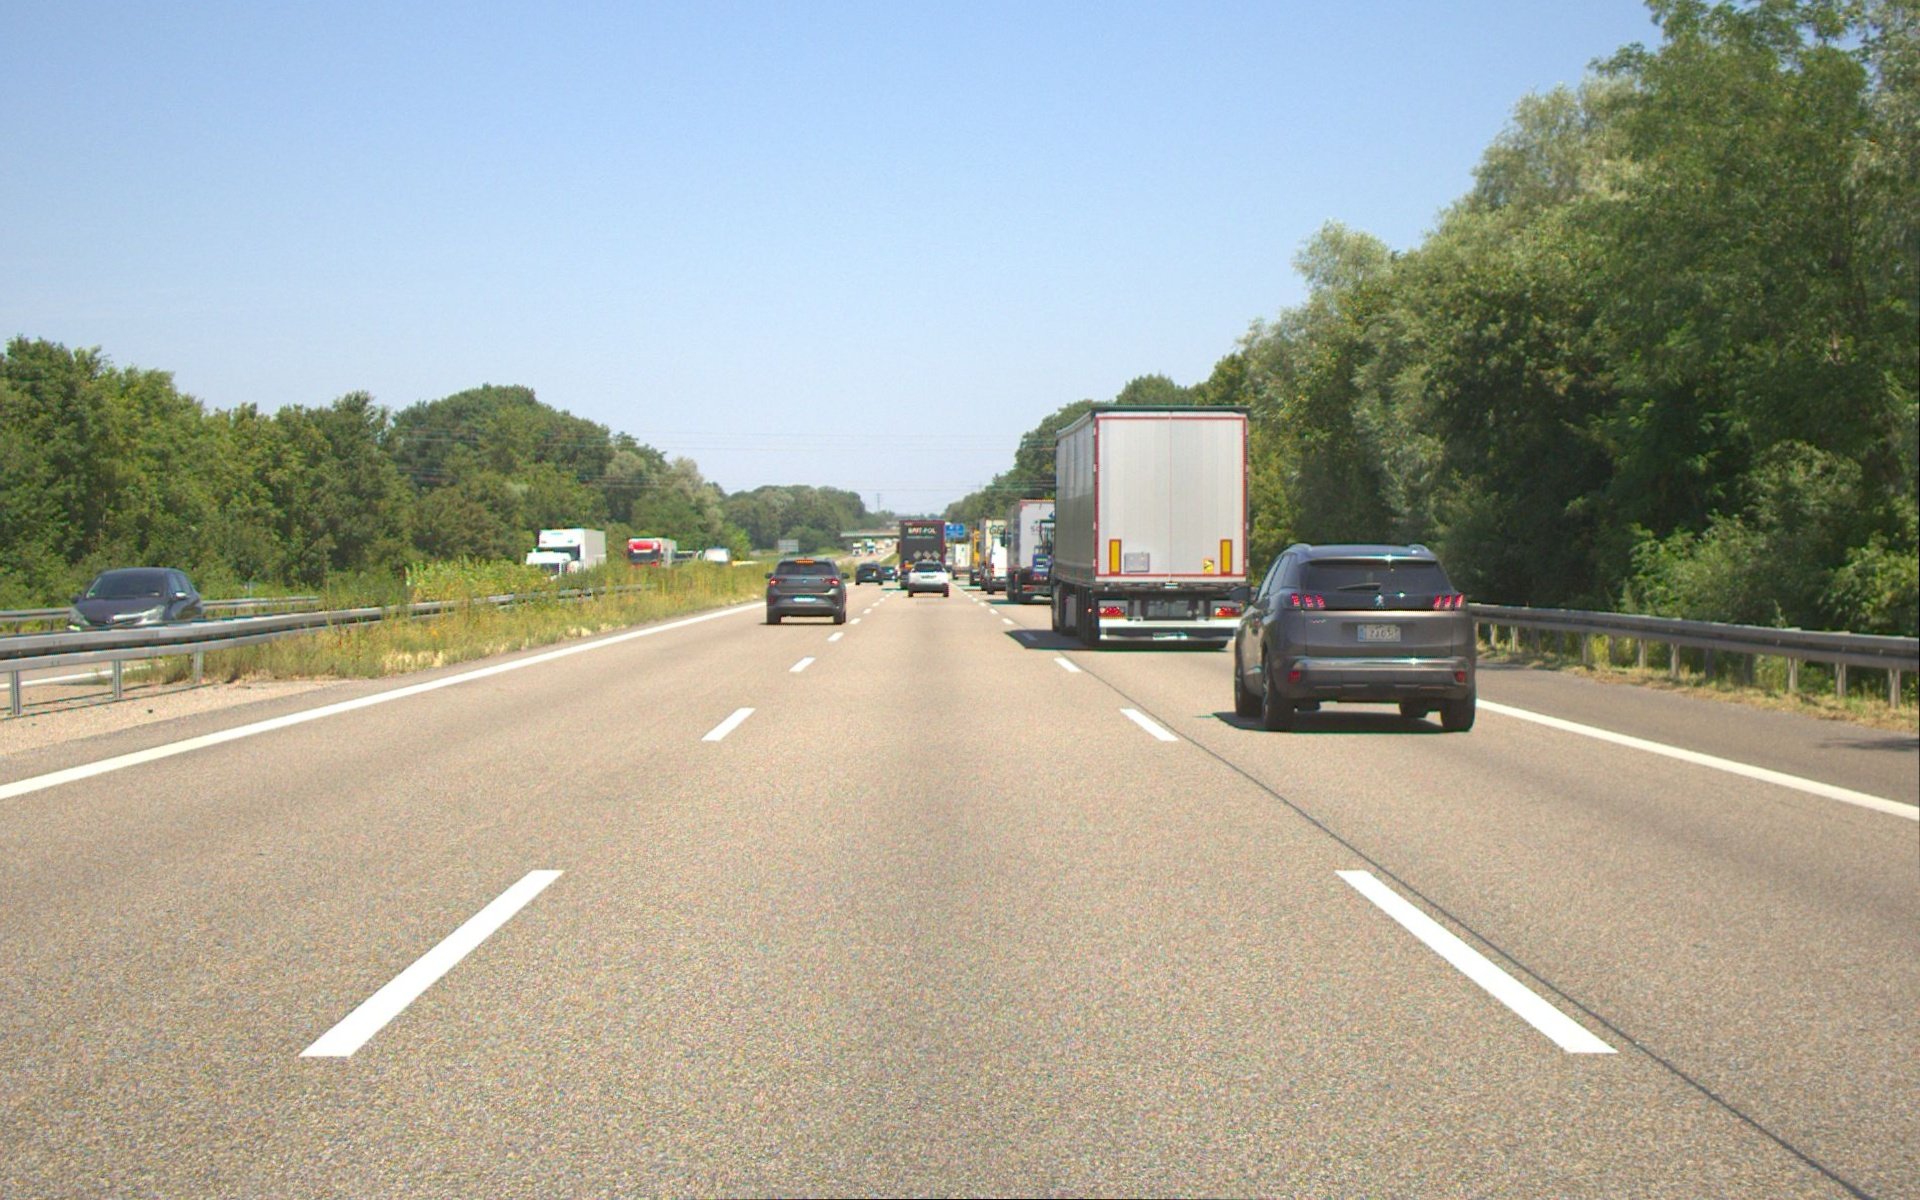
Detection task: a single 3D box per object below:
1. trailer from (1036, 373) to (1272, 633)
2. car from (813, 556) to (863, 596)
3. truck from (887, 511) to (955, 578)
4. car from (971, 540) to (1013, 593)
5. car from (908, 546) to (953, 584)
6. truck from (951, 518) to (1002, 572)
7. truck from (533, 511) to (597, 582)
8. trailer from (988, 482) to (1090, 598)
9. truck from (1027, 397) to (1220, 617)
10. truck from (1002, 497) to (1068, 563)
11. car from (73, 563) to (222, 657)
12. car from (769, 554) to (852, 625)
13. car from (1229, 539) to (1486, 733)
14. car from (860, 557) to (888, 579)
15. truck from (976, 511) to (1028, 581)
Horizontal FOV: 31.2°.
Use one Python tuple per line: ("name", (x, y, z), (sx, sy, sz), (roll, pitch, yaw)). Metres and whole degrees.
("trailer", (3.292, -1.657, 62.519), (3.434, 4.167, 13.633), (1, 1, 0))
("car", (-4.940, -0.984, 139.631), (1.900, 1.525, 4.084), (1, 2, 0))
("truck", (-2.195, -3.231, 197.704), (3.667, 3.713, 7.108), (1, 2, 1))
("car", (1.521, -1.610, 164.958), (1.907, 2.417, 4.286), (1, 2, 0))
("car", (-1.276, -1.516, 148.889), (1.900, 1.525, 4.084), (1, 2, 0))
("truck", (1.182, -3.963, 244.319), (3.489, 3.713, 7.108), (1, 2, 1))
("truck", (-23.307, -3.204, 202.928), (3.071, 4.097, 6.526), (1, 1, -1))
("trailer", (2.741, -2.185, 122.325), (3.122, 3.913, 9.938), (1, 2, -1))
("truck", (3.207, -1.797, 69.282), (3.464, 4.163, 6.844), (1, 0, 0))
("truck", (4.264, -4.046, 197.861), (3.667, 3.713, 7.108), (1, 2, 1))
("car", (-13.458, 0.136, 57.148), (1.553, 1.457, 4.047), (-1, 1, -1))
("car", (-3.466, -0.267, 80.235), (1.759, 1.525, 4.286), (1, 2, 0))
("car", (3.528, 0.268, 31.180), (1.845, 1.623, 4.135), (0, 1, 0))
("car", (-6.342, -2.383, 253.656), (1.907, 1.525, 4.286), (1, 2, 0))
("truck", (2.317, -3.002, 188.885), (2.792, 3.713, 7.108), (1, 2, 1))
